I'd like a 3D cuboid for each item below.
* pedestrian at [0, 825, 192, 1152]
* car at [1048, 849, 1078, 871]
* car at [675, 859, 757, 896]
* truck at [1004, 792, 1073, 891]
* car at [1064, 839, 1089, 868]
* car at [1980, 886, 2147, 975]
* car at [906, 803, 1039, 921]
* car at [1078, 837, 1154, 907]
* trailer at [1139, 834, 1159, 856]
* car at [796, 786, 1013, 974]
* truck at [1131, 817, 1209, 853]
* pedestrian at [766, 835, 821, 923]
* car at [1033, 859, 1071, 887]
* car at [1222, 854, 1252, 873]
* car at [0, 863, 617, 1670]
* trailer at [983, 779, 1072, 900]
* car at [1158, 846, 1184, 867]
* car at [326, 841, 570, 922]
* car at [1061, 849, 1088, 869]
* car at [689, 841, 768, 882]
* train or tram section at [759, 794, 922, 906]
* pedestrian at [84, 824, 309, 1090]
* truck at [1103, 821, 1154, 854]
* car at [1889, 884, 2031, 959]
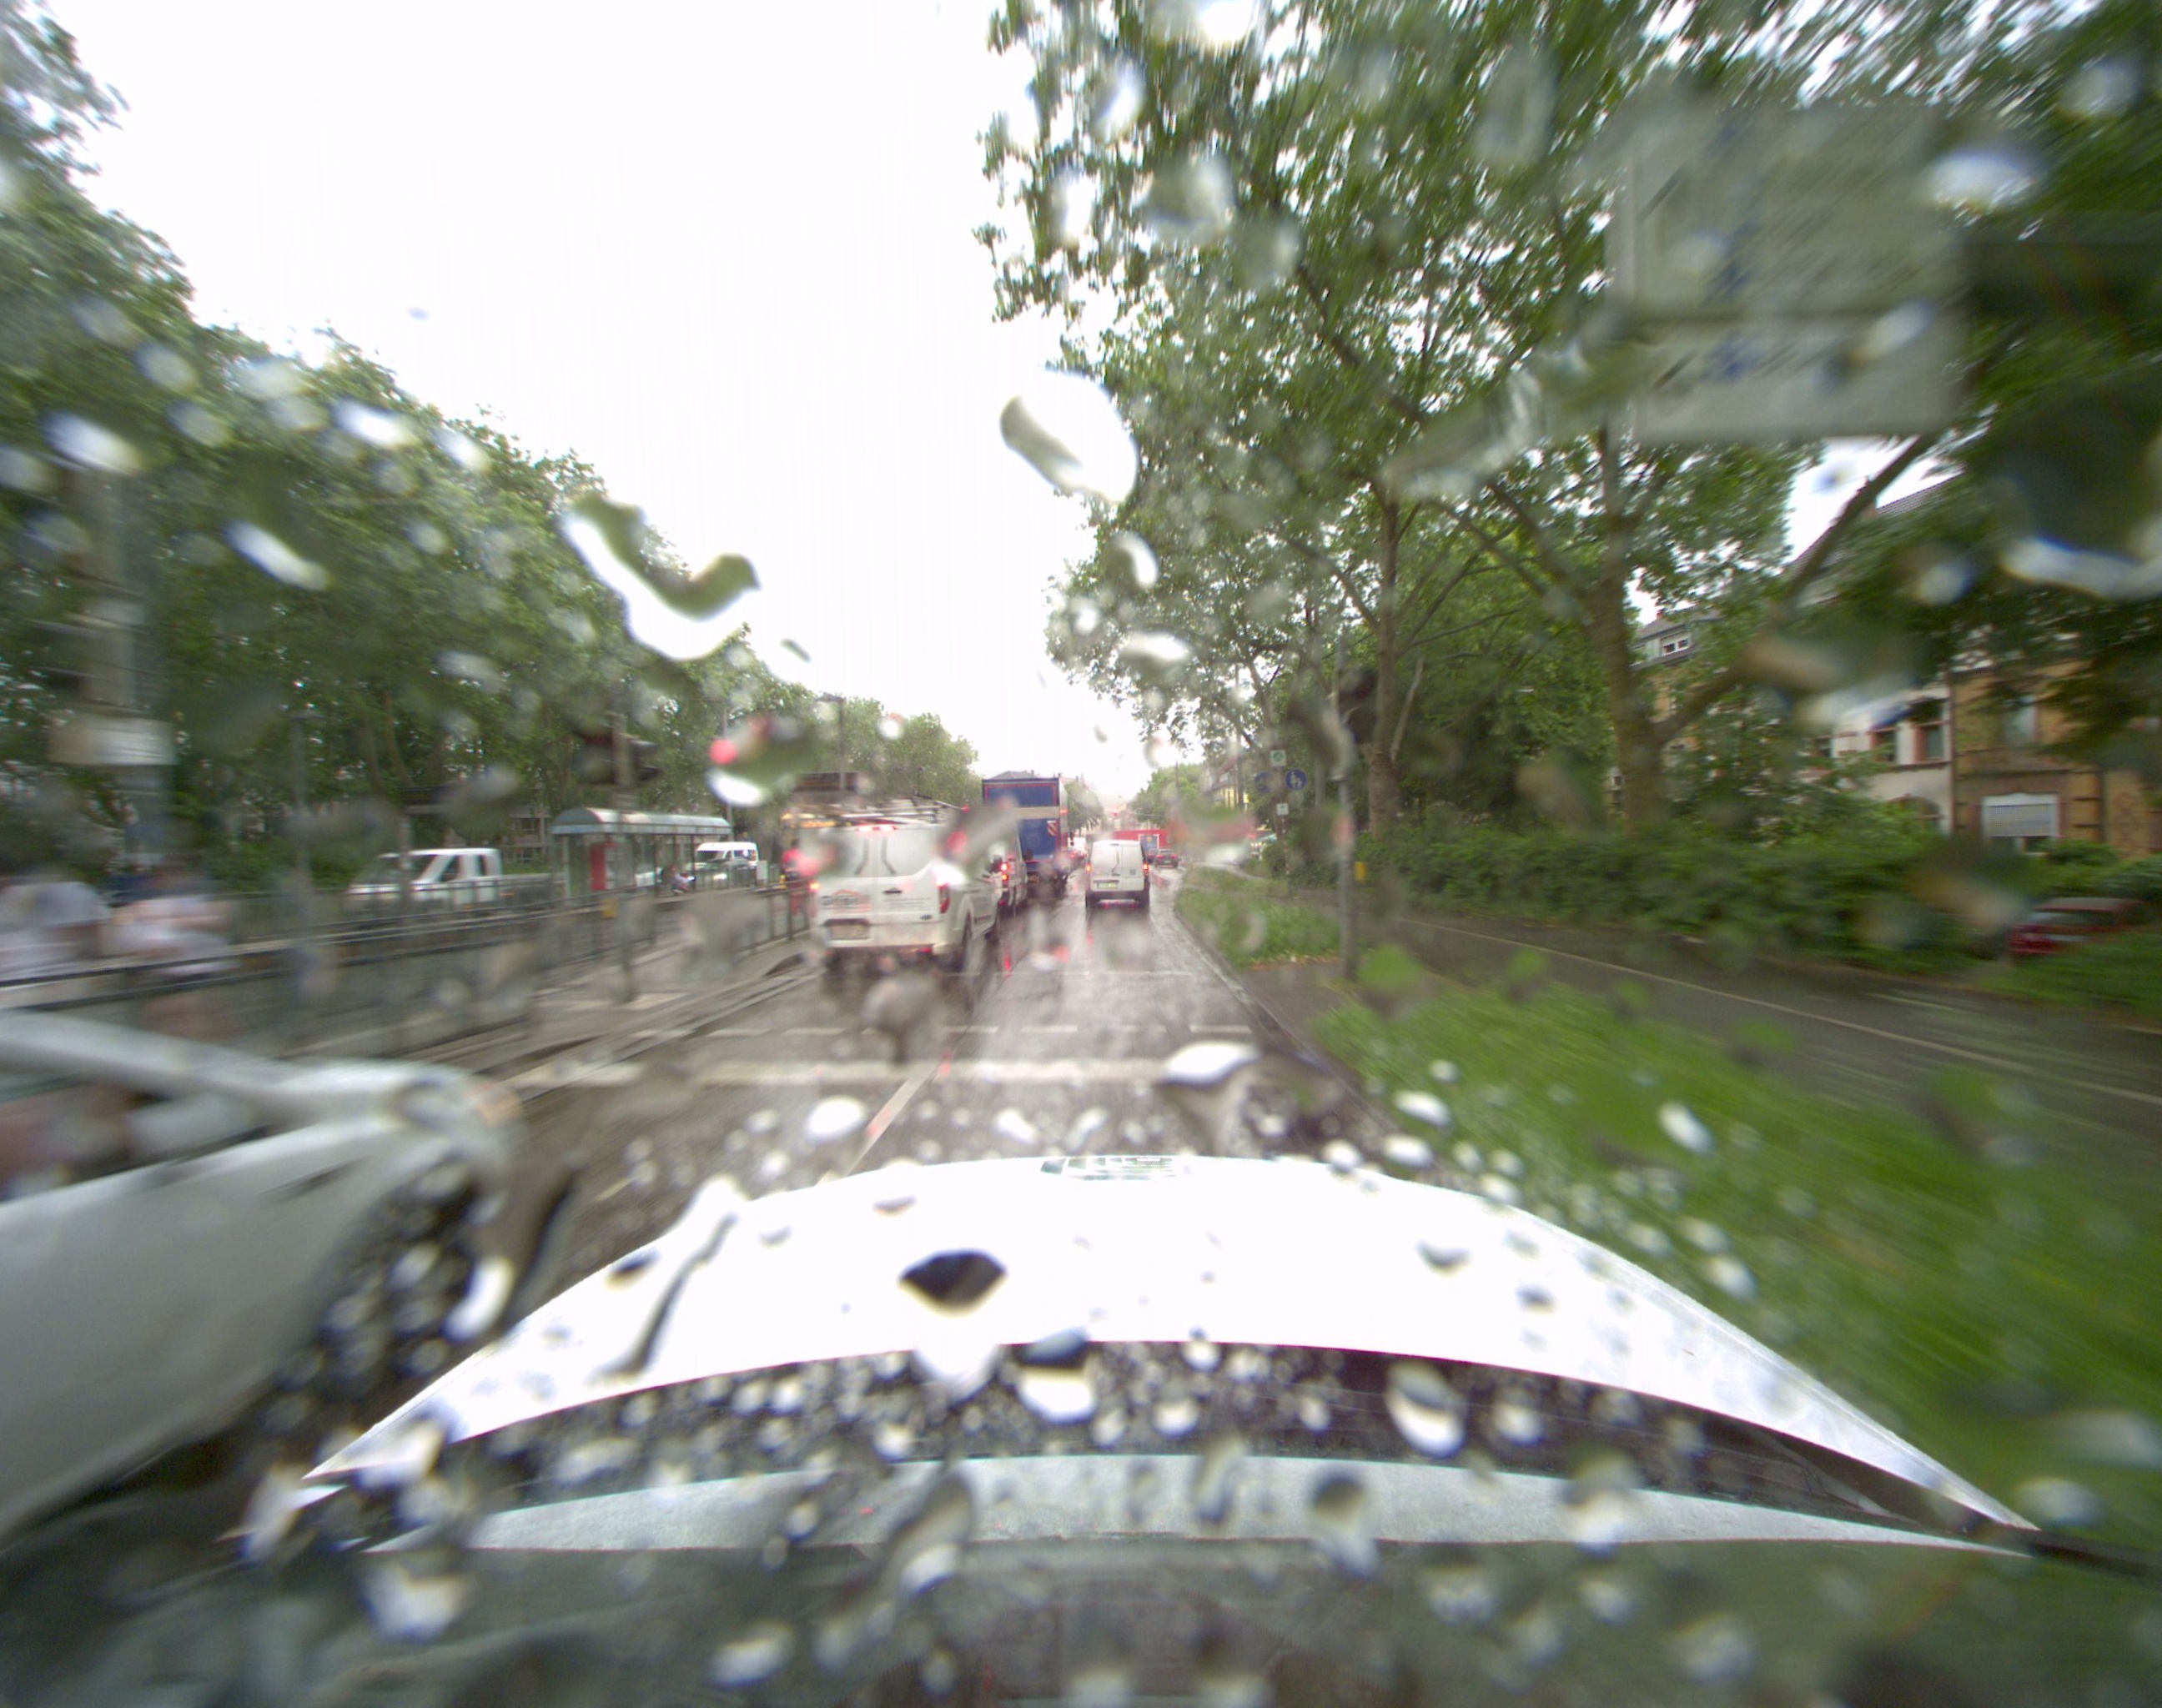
[{"bbox_3d":[-5.959,0.725,4.737,0.713,1.744,0.751,-1,0,1],"label":"pedestrian"},{"bbox_3d":[-1.317,0.455,60.882,1.986,1.578,4.294,0,0,2],"label":"car"},{"bbox_3d":[-17.696,1.119,39.661,1.985,1.581,4.003,-2,0,2],"label":"car"},{"bbox_3d":[-1.705,-0.513,34.319,2.572,3.904,4.001,-1,0,1],"label":"truck"},{"bbox_3d":[-0.371,-0.037,72.888,1.986,2.442,4.614,0,0,2],"label":"car"},{"bbox_3d":[21.093,1.543,17.461,3.770,1.415,1.707,-3,1,-31],"label":"car"},{"bbox_3d":[-2.540,0.203,20.950,2.320,2.557,6.117,-1,-1,2],"label":"car"},{"bbox_3d":[0.977,0.498,22.913,1.951,1.777,3.571,-1,-1,2],"label":"car"},{"bbox_3d":[7.521,-0.994,89.973,1.983,2.317,4.677,-1,-1,6],"label":"trailer"},{"bbox_3d":[-2.381,0.354,12.589,1.986,2.262,5.291,-1,-1,2],"label":"car"},{"bbox_3d":[13.505,-2.833,124.159,11.256,4.899,3.309,-2,1,27],"label":"truck"},{"bbox_3d":[-5.763,0.494,16.377,0.787,1.714,0.771,0,-1,1],"label":"pedestrian"},{"bbox_3d":[-1.697,1.094,48.848,1.986,1.472,4.269,0,1,2],"label":"car"},{"bbox_3d":[13.786,0.830,72.001,1.816,1.490,4.354,-3,1,1],"label":"car"},{"bbox_3d":[-2.862,0.768,1.381,1.717,1.479,3.810,-1,-1,5],"label":"car"},{"bbox_3d":[-1.773,-0.489,30.227,2.581,3.899,7.637,-1,0,1],"label":"trailer"},{"bbox_3d":[7.072,0.198,63.960,1.983,1.542,4.007,-2,0,6],"label":"car"},{"bbox_3d":[-18.209,0.715,24.010,2.176,2.013,6.118,-1,0,2],"label":"car"},{"bbox_3d":[-0.512,0.404,67.365,1.986,1.578,4.294,0,0,2],"label":"car"},{"bbox_3d":[-20.600,0.414,47.821,1.984,2.223,5.230,-1,0,4],"label":"car"},{"bbox_3d":[-8.155,-0.197,29.026,2.950,3.285,8.363,-3,1,1],"label":"train or tram section"},{"bbox_3d":[-6.224,0.683,5.781,0.675,1.738,0.808,-1,0,1],"label":"pedestrian"},{"bbox_3d":[7.414,-2.575,127.375,7.090,4.899,3.309,-2,1,27],"label":"truck"},{"bbox_3d":[21.493,1.573,19.890,3.645,1.415,1.605,-3,1,-31],"label":"car"}]
